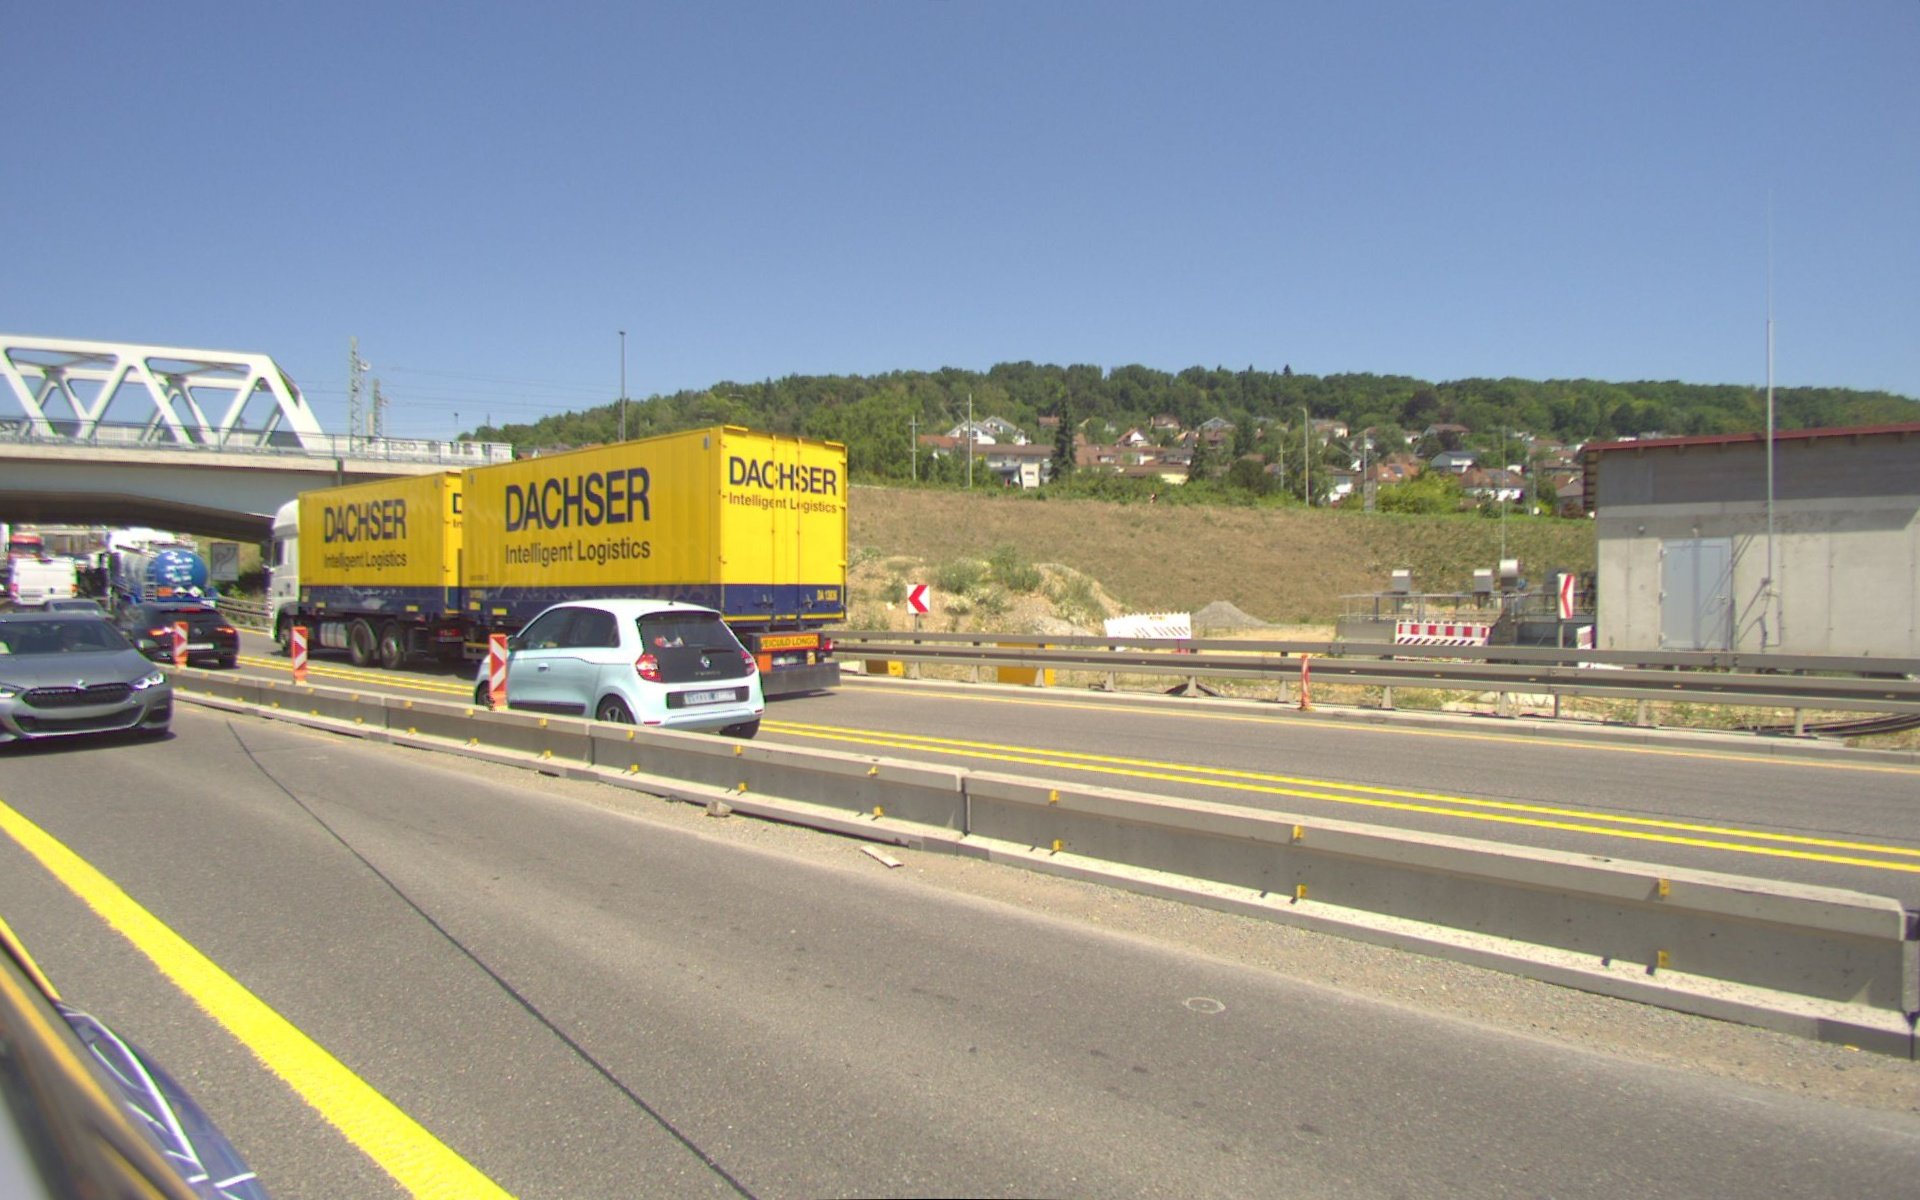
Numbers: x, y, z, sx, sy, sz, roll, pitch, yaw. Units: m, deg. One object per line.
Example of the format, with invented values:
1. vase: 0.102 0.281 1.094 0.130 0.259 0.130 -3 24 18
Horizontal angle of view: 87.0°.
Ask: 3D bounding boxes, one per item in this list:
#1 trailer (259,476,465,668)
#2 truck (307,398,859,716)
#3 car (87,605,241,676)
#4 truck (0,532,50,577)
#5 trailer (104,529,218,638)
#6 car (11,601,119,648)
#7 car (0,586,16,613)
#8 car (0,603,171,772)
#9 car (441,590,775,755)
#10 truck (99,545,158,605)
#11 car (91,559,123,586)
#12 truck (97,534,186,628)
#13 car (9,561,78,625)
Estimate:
1. trailer: -14.964 -0.640 25.237 5.214 4.261 2.837 1 0 40
2. truck: -8.426 -0.642 19.877 15.358 4.375 2.779 0 1 39
3. car: -17.441 0.816 22.096 4.497 1.372 1.660 0 0 39
4. truck: -92.921 -4.562 100.210 3.410 4.076 10.234 0 3 -38
5. trailer: -31.826 -0.719 40.101 2.496 3.817 10.254 -1 2 -44
6. car: -26.440 0.690 29.860 4.330 1.274 1.660 0 0 39
7. car: -58.558 -0.060 61.461 1.775 1.563 4.004 0 2 -43
8. car: -10.530 0.842 11.460 4.389 1.609 1.814 0 0 42
9. car: -3.965 0.695 11.099 3.996 1.497 1.620 -2 -1 39
10. truck: -53.480 -1.605 65.241 2.781 3.602 8.515 0 2 -39
11. car: -78.897 -2.595 93.702 1.955 2.347 6.072 0 2 -37
12. truck: -35.741 -0.879 44.155 2.505 3.850 4.954 -1 2 -45
13. car: -39.025 -0.367 43.036 2.046 2.522 6.491 0 2 -43
